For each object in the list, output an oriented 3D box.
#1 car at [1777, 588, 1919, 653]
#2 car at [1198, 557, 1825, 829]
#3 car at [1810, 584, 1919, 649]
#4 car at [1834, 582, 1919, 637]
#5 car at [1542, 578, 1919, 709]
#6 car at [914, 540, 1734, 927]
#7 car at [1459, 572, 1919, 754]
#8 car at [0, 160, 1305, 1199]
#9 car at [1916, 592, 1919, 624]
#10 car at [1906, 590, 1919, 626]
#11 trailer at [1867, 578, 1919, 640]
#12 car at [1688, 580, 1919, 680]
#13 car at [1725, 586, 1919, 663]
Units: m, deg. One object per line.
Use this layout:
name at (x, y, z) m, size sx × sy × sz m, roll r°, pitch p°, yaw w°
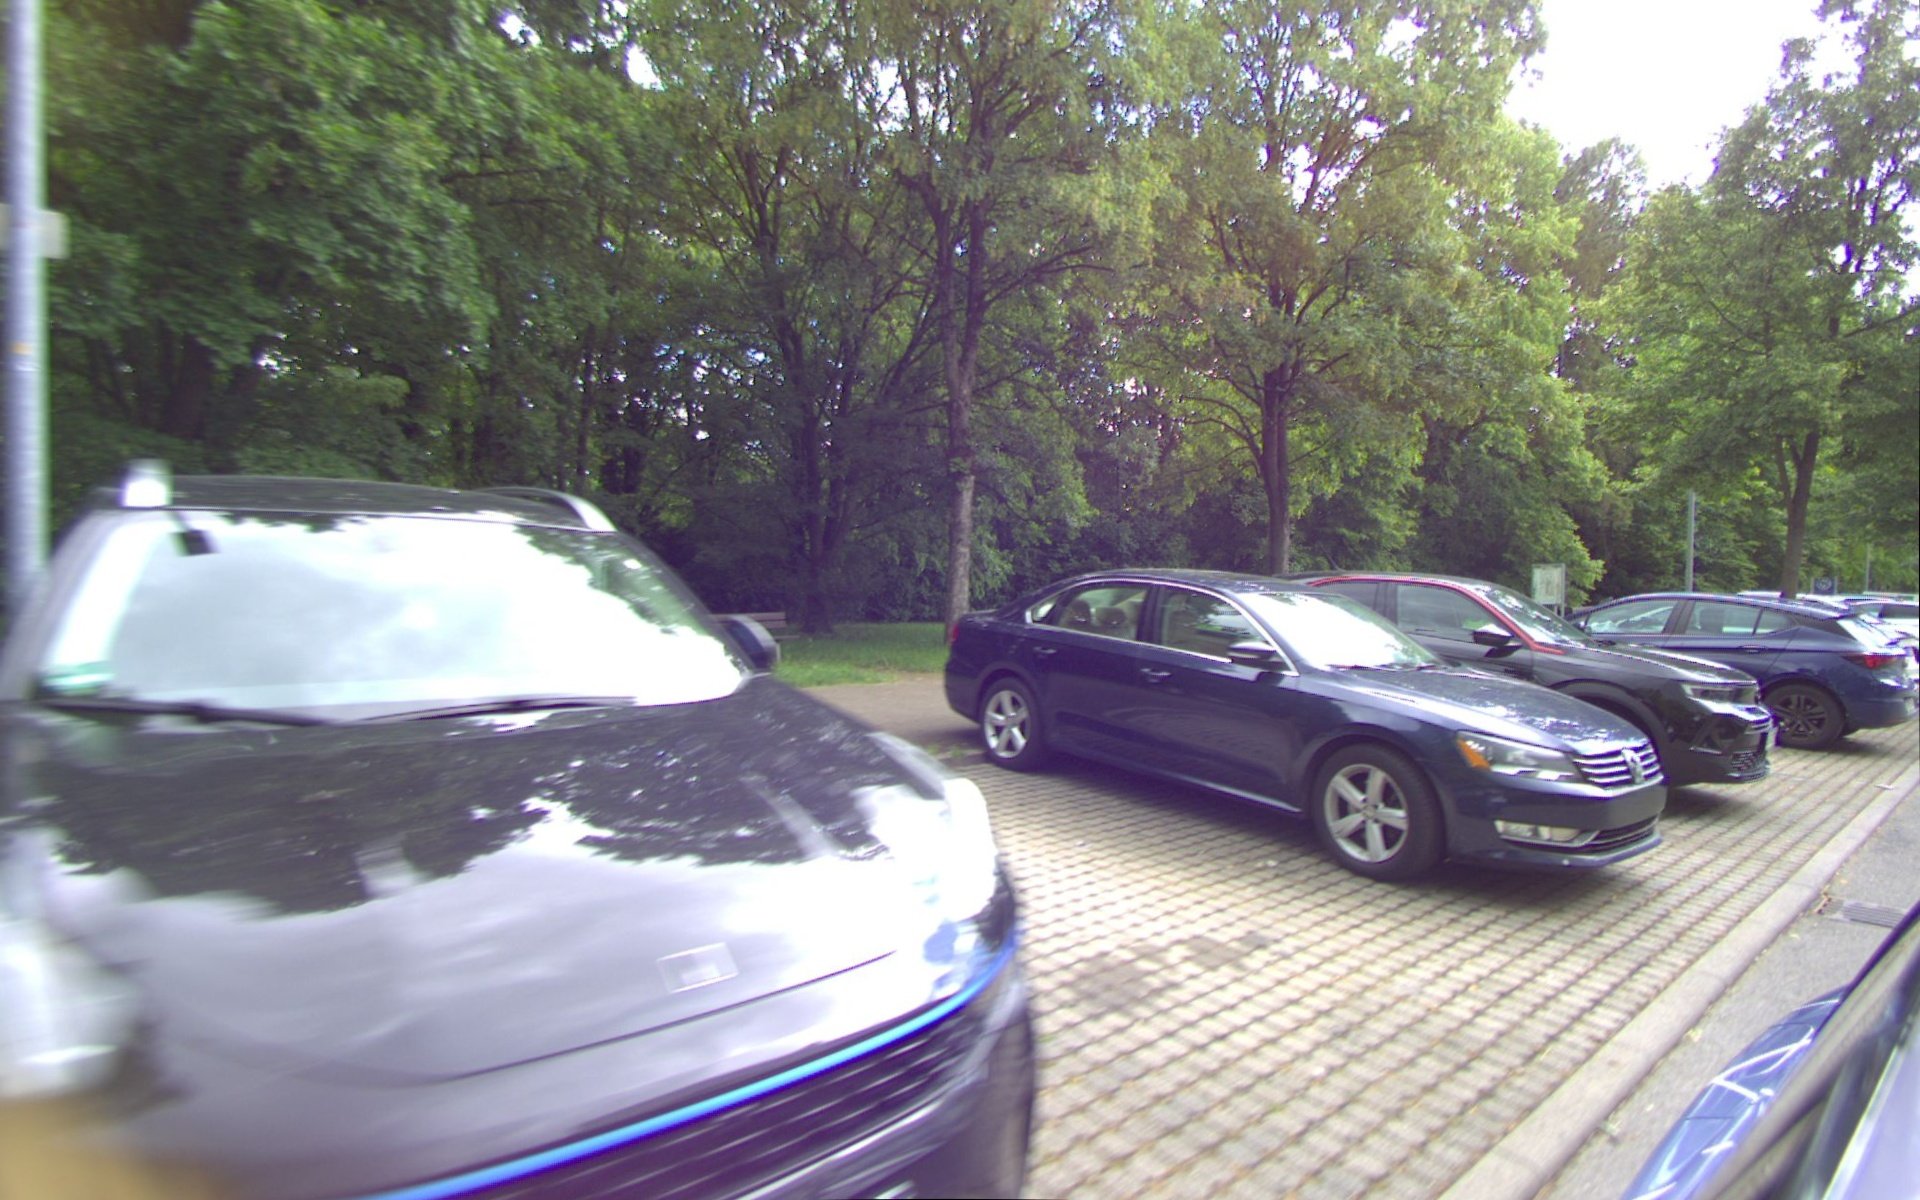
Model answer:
car at (23.487, 0.512, 25.754) m, size 4.010 × 1.439 × 1.764 m, roll 5°, pitch 4°, yaw 44°
car at (4.207, 0.493, 8.206) m, size 1.821 × 1.535 × 4.077 m, roll 0°, pitch 4°, yaw -44°
car at (25.544, 0.470, 27.022) m, size 1.830 × 1.566 × 4.118 m, roll 0°, pitch 3°, yaw -43°
car at (32.962, 0.381, 34.206) m, size 1.937 × 1.714 × 4.833 m, roll 0°, pitch 3°, yaw -37°
car at (11.457, 0.510, 15.031) m, size 1.814 × 1.472 × 4.496 m, roll 0°, pitch 3°, yaw -40°
car at (1.876, 0.455, 6.587) m, size 1.946 × 1.536 × 4.649 m, roll 1°, pitch 3°, yaw -39°
car at (8.017, 0.521, 11.182) m, size 1.818 × 1.474 × 4.083 m, roll 0°, pitch 3°, yaw -40°
car at (-1.575, 0.402, 2.964) m, size 2.046 × 1.696 × 4.425 m, roll 1°, pitch 3°, yaw -41°
car at (46.056, 0.429, 45.650) m, size 1.755 × 1.482 × 4.092 m, roll 0°, pitch 2°, yaw -42°
car at (44.047, 0.426, 43.994) m, size 1.755 × 1.590 × 4.141 m, roll 0°, pitch 2°, yaw -42°
trailer at (29.449, 0.317, 30.450) m, size 1.537 × 1.812 × 3.034 m, roll 0°, pitch 3°, yaw -43°
car at (15.955, 0.495, 18.539) m, size 1.846 × 1.534 × 3.852 m, roll 0°, pitch 3°, yaw -38°
car at (19.704, 0.516, 22.445) m, size 1.785 × 1.439 × 4.062 m, roll 0°, pitch 3°, yaw -42°
